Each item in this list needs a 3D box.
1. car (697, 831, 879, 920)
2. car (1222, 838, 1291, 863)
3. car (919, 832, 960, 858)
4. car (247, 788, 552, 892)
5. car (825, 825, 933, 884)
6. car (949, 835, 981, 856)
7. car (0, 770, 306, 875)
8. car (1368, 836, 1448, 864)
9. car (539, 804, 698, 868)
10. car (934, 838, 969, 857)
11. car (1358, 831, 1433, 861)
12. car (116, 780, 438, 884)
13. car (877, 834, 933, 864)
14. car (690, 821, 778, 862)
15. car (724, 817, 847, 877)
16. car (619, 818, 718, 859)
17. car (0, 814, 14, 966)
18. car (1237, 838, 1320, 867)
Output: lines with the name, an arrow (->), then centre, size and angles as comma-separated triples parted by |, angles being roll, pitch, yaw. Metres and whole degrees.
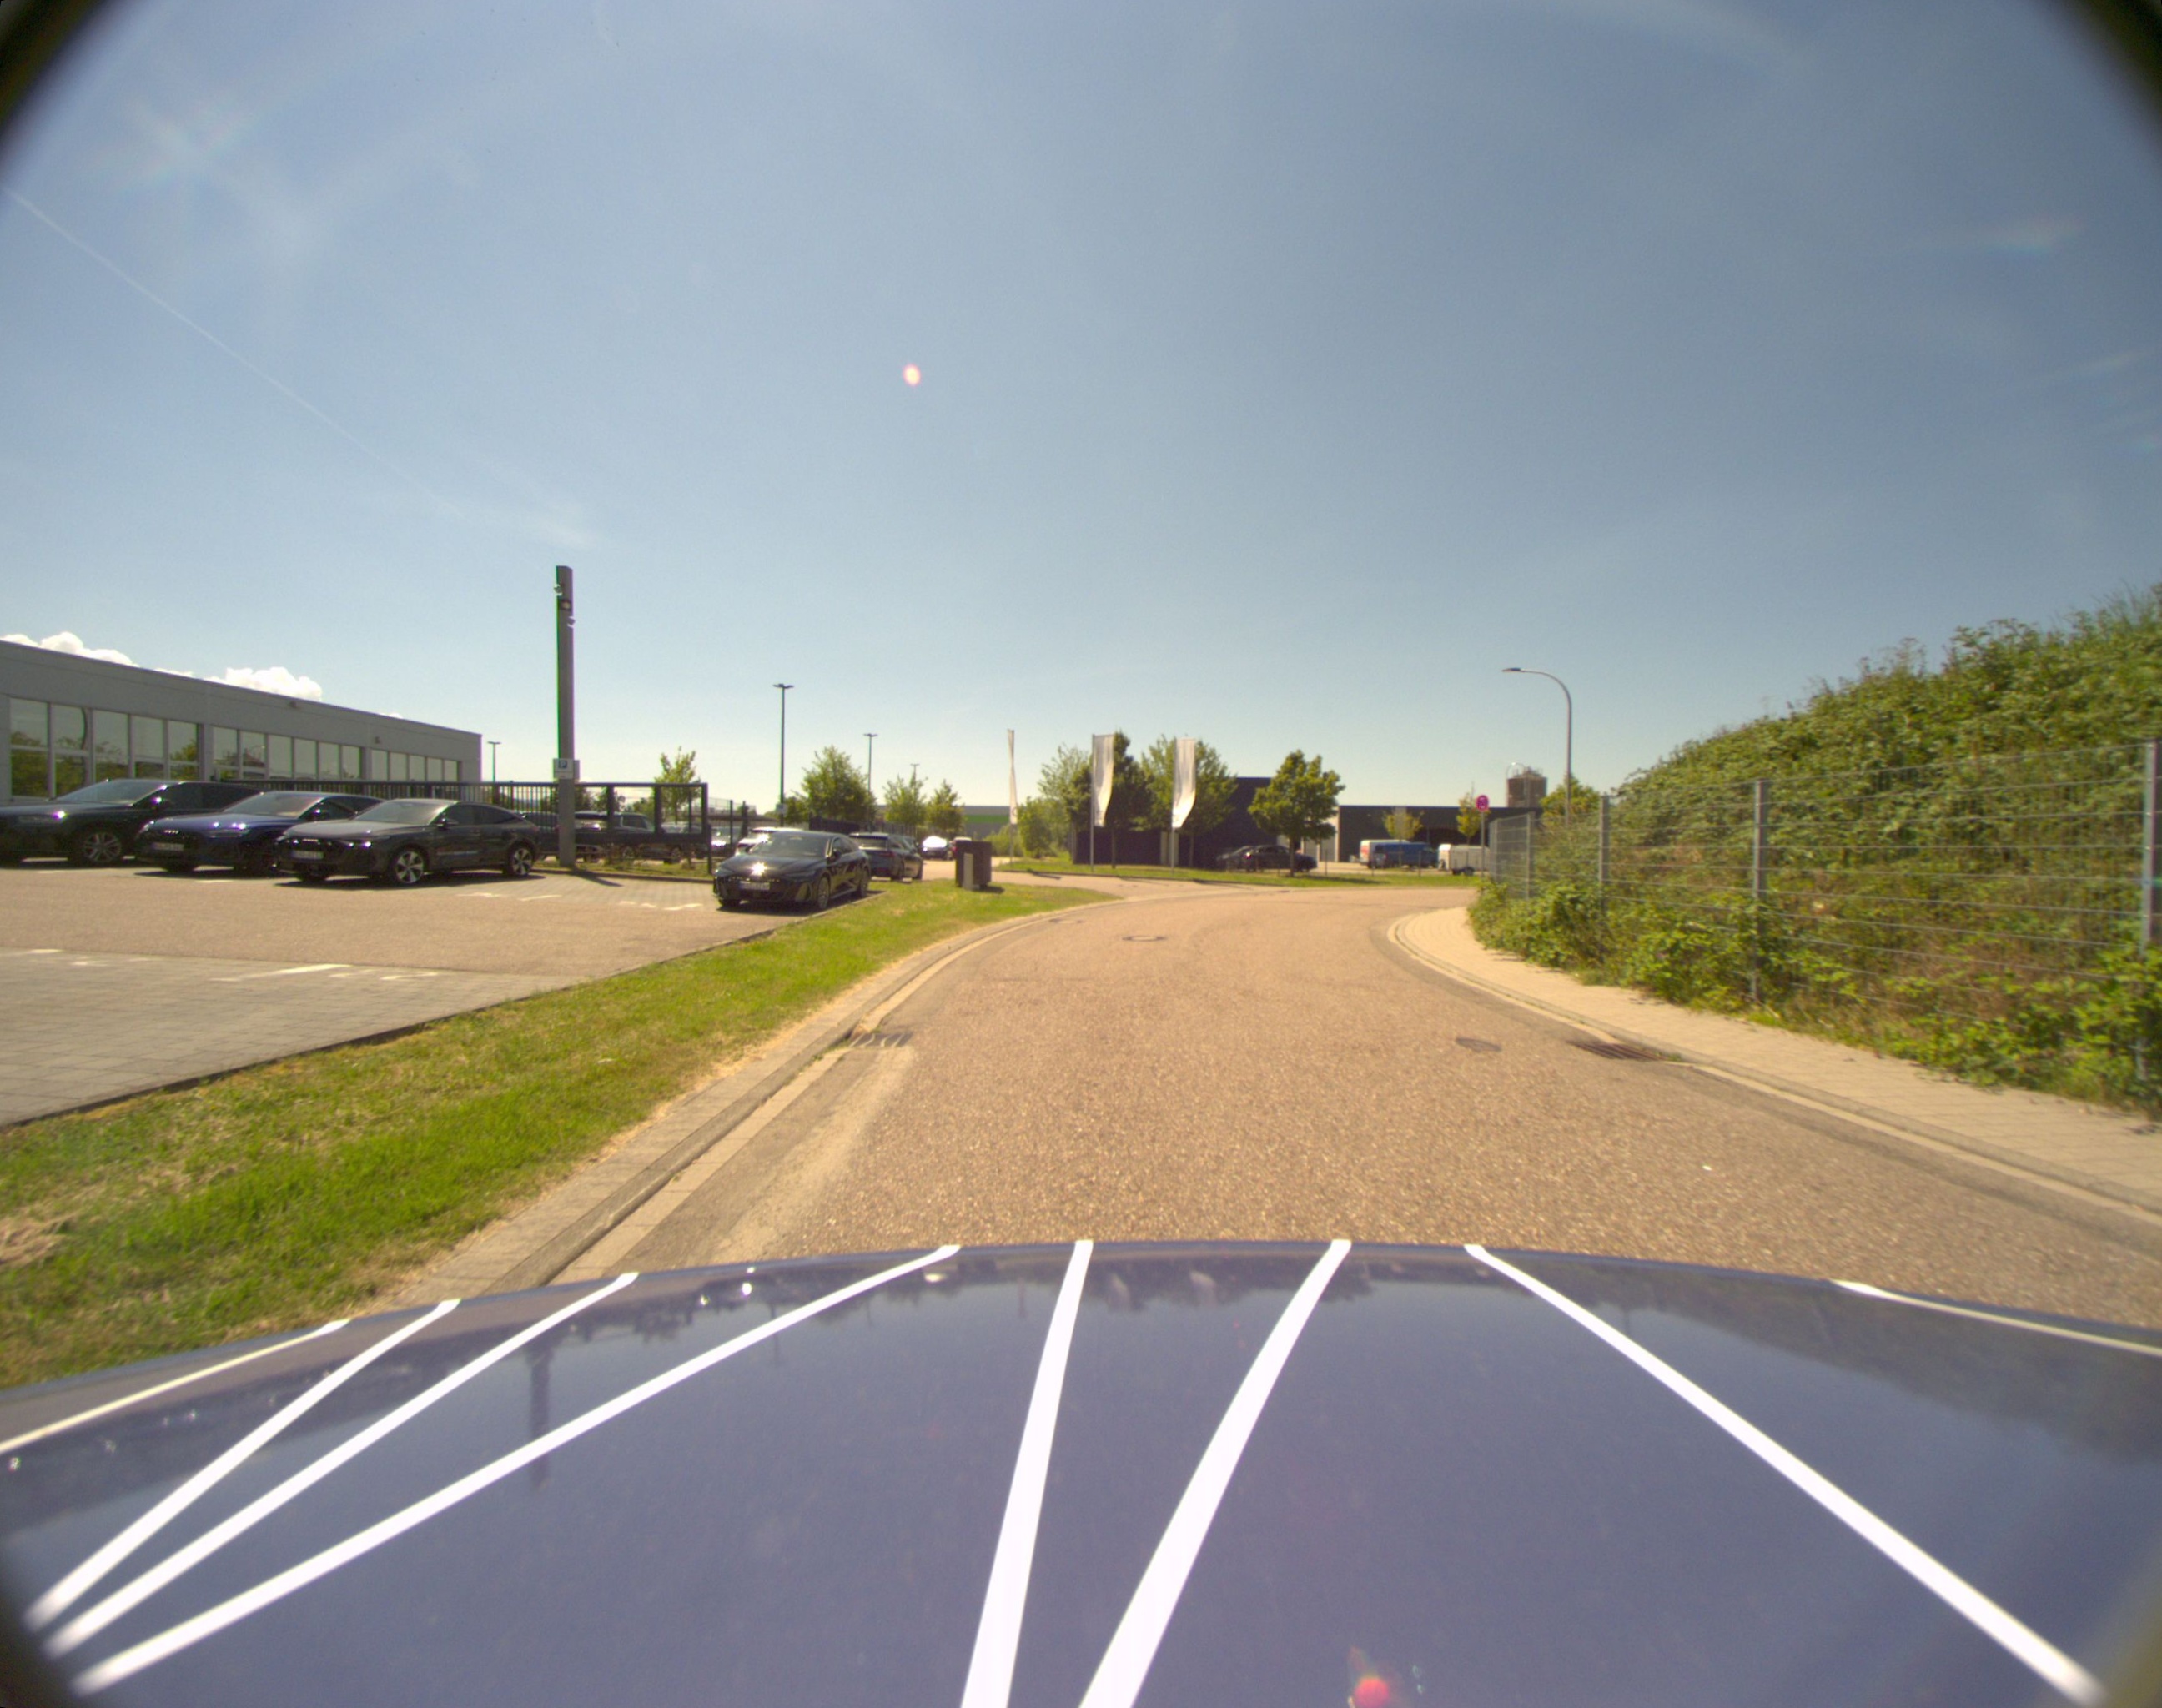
car -> -5.687, 0.343, 15.523 | 1.884, 1.446, 5.022 | 3, 1, -2
car -> 11.670, -0.247, 50.658 | 4.170, 1.558, 1.780 | 1, 1, -2
car -> -9.335, -0.610, 50.523 | 1.779, 1.558, 4.405 | 2, 1, 1
car -> -13.089, -0.269, 15.126 | 1.829, 1.634, 4.784 | 4, 1, -2
car -> -5.748, -0.018, 22.301 | 1.967, 1.459, 4.943 | 2, 1, -2
car -> -9.458, -0.728, 62.224 | 1.824, 1.637, 4.395 | 2, 1, 1
car -> -18.739, -0.608, 15.108 | 1.967, 1.732, 4.624 | 4, 1, -2
car -> 27.561, -0.354, 64.174 | 5.830, 2.212, 2.143 | 1, 1, -3
car -> -13.393, -0.508, 22.393 | 1.967, 1.620, 4.624 | 2, 1, -2
car -> -9.591, -0.504, 56.418 | 1.779, 1.349, 4.171 | 2, 1, 1
car -> 27.693, -0.679, 67.032 | 5.676, 2.443, 2.196 | -2, 0, -2
car -> -15.716, -0.412, 15.291 | 1.829, 1.684, 4.415 | 3, 1, -2
car -> -9.203, -0.288, 40.178 | 1.779, 1.393, 4.572 | 2, 1, 1
car -> -15.570, -0.566, 34.408 | 1.967, 1.620, 4.624 | 2, 1, -2
car -> -8.547, -0.222, 22.499 | 1.824, 1.520, 4.943 | 2, 1, -2
car -> -18.111, -0.665, 33.616 | 1.967, 1.620, 4.624 | 2, 1, -2
car -> -10.613, 0.288, 4.708 | 1.967, 1.367, 4.310 | 2, 0, -2
car -> 11.276, -0.094, 43.513 | 4.280, 1.592, 1.779 | -1, 1, -2
